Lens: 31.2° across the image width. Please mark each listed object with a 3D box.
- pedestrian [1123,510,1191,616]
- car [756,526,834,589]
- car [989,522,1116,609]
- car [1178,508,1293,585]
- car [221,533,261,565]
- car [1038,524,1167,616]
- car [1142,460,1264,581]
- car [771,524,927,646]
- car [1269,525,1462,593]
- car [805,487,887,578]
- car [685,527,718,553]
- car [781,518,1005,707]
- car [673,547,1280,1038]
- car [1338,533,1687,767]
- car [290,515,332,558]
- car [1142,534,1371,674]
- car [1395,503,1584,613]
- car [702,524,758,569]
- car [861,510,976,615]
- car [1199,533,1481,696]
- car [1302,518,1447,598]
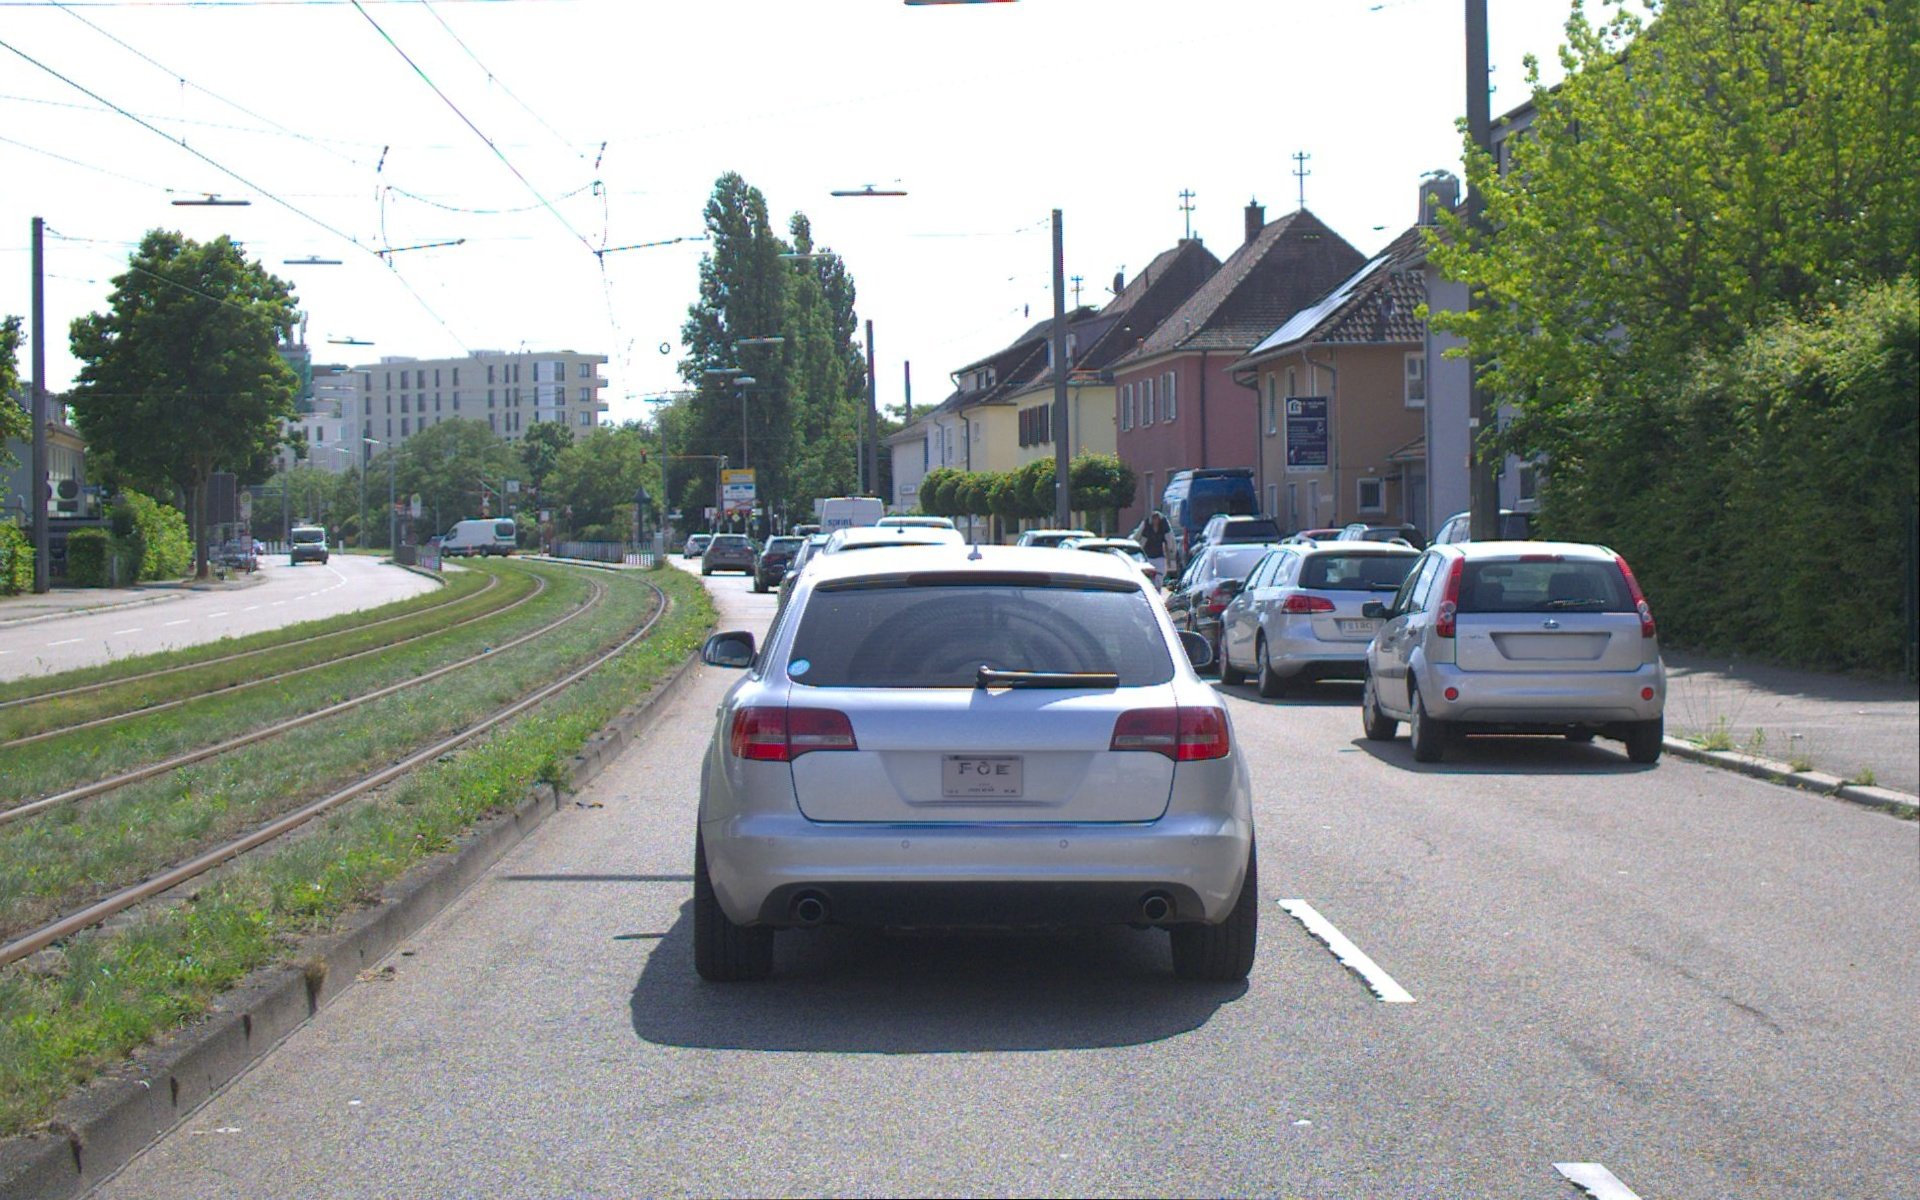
[{"bbox_3d":[3.654,-0.681,63.836,1.112,1.939,1.092,-1,1,-4],"label":"pedestrian"},{"bbox_3d":[-4.159,-1.067,86.135,1.885,1.525,4.095,1,1,-3],"label":"car"},{"bbox_3d":[1.694,-0.648,64.429,1.807,1.554,4.254,1,1,-6],"label":"car"},{"bbox_3d":[6.463,-1.288,81.194,1.836,1.705,4.865,-2,2,-5],"label":"car"},{"bbox_3d":[-36.859,-2.625,176.304,1.786,1.578,3.932,0,1,-8],"label":"car"},{"bbox_3d":[2.343,-0.503,57.466,1.814,1.449,4.644,1,1,-2],"label":"car"},{"bbox_3d":[6.132,-1.982,87.427,2.151,2.920,6.245,1,1,-4],"label":"car"},{"bbox_3d":[-1.469,-0.227,44.165,1.885,1.461,4.095,-1,1,-3],"label":"car"},{"bbox_3d":[8.367,-0.851,71.058,3.648,1.375,1.727,0,0,-6],"label":"car"},{"bbox_3d":[-3.313,-1.952,98.951,2.040,2.549,5.232,0,1,-5],"label":"car"},{"bbox_3d":[-15.720,-3.656,209.266,1.885,1.525,4.095,1,1,-3],"label":"car"},{"bbox_3d":[-0.677,0.071,31.569,1.787,1.571,4.095,2,1,-4],"label":"car"},{"bbox_3d":[-0.037,0.558,12.802,1.854,1.487,4.536,0,1,-2],"label":"car"},{"bbox_3d":[3.791,0.303,24.230,1.737,1.484,4.094,1,1,-1],"label":"car"},{"bbox_3d":[-37.933,-3.696,201.014,2.196,2.364,5.334,-2,1,-9],"label":"car"},{"bbox_3d":[3.280,-0.006,38.993,1.899,1.439,5.058,1,1,-3],"label":"car"},{"bbox_3d":[8.447,-0.678,55.270,1.756,1.641,4.770,-2,1,-7],"label":"car"},{"bbox_3d":[-8.012,-1.860,119.951,1.885,1.525,4.095,1,1,-3],"label":"car"},{"bbox_3d":[-0.719,-0.663,59.102,1.885,1.725,4.095,-1,1,-1],"label":"car"},{"bbox_3d":[3.610,0.104,33.565,1.890,1.450,5.007,1,1,-3],"label":"car"},{"bbox_3d":[7.811,-0.808,65.216,1.798,1.419,4.858,-1,1,-4],"label":"car"}]
